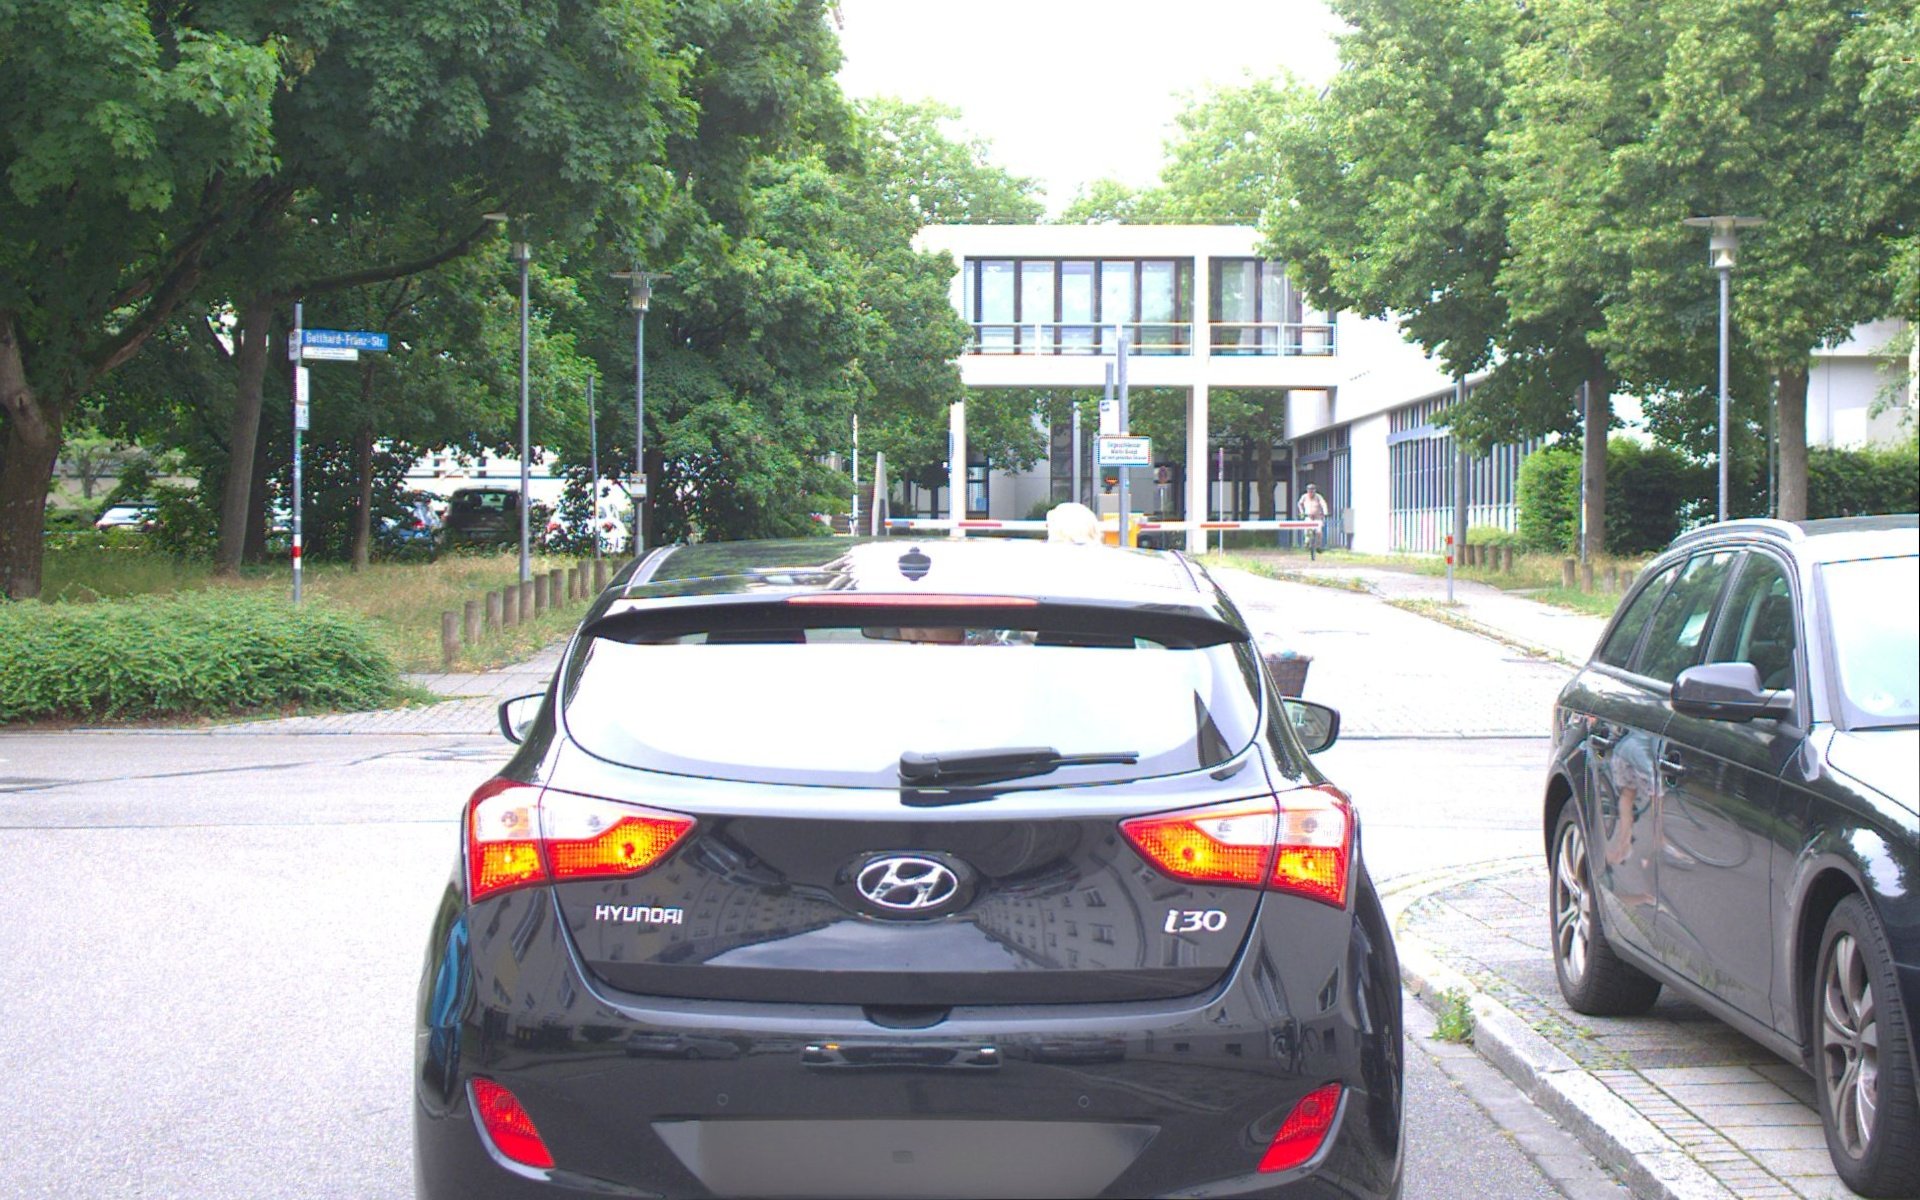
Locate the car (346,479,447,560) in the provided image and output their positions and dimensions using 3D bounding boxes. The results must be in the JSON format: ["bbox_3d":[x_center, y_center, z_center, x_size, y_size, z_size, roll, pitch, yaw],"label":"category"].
[{"bbox_3d":[-13.155,-1.865,80.415,1.993,1.788,4.000,0,0,-4],"label":"car"}]

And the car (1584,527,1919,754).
[{"bbox_3d":[6.092,0.251,22.904,3.532,1.432,1.567,0,2,-2],"label":"car"}]

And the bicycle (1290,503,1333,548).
[{"bbox_3d":[8.502,-1.811,83.235,0.866,1.071,2.142,0,2,1],"label":"bicycle"}]

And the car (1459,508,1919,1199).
[{"bbox_3d":[2.618,0.508,8.619,1.860,1.457,4.726,-1,2,-2],"label":"car"}]

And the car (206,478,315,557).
[{"bbox_3d":[-16.260,-1.893,80.099,1.993,1.722,4.000,0,0,-4],"label":"car"}]

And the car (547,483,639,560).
[{"bbox_3d":[-8.559,-1.816,80.460,1.993,1.756,4.001,0,1,-4],"label":"car"}]

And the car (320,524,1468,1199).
[{"bbox_3d":[-0.189,0.577,7.476,1.846,1.457,3.828,1,1,-3],"label":"car"}]

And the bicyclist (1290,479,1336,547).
[{"bbox_3d":[8.529,-2.099,83.036,1.017,1.639,0.923,0,2,1],"label":"bicyclist"}]

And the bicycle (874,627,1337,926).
[{"bbox_3d":[0.595,0.714,14.226,1.812,1.115,0.538,-2,2,-8],"label":"bicycle"}]

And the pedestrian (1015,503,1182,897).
[{"bbox_3d":[0.554,0.390,13.876,0.565,1.544,0.448,-2,2,-7],"label":"pedestrian"}]

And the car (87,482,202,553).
[{"bbox_3d":[-18.981,-1.922,80.178,1.993,1.612,4.001,0,1,-4],"label":"car"}]
